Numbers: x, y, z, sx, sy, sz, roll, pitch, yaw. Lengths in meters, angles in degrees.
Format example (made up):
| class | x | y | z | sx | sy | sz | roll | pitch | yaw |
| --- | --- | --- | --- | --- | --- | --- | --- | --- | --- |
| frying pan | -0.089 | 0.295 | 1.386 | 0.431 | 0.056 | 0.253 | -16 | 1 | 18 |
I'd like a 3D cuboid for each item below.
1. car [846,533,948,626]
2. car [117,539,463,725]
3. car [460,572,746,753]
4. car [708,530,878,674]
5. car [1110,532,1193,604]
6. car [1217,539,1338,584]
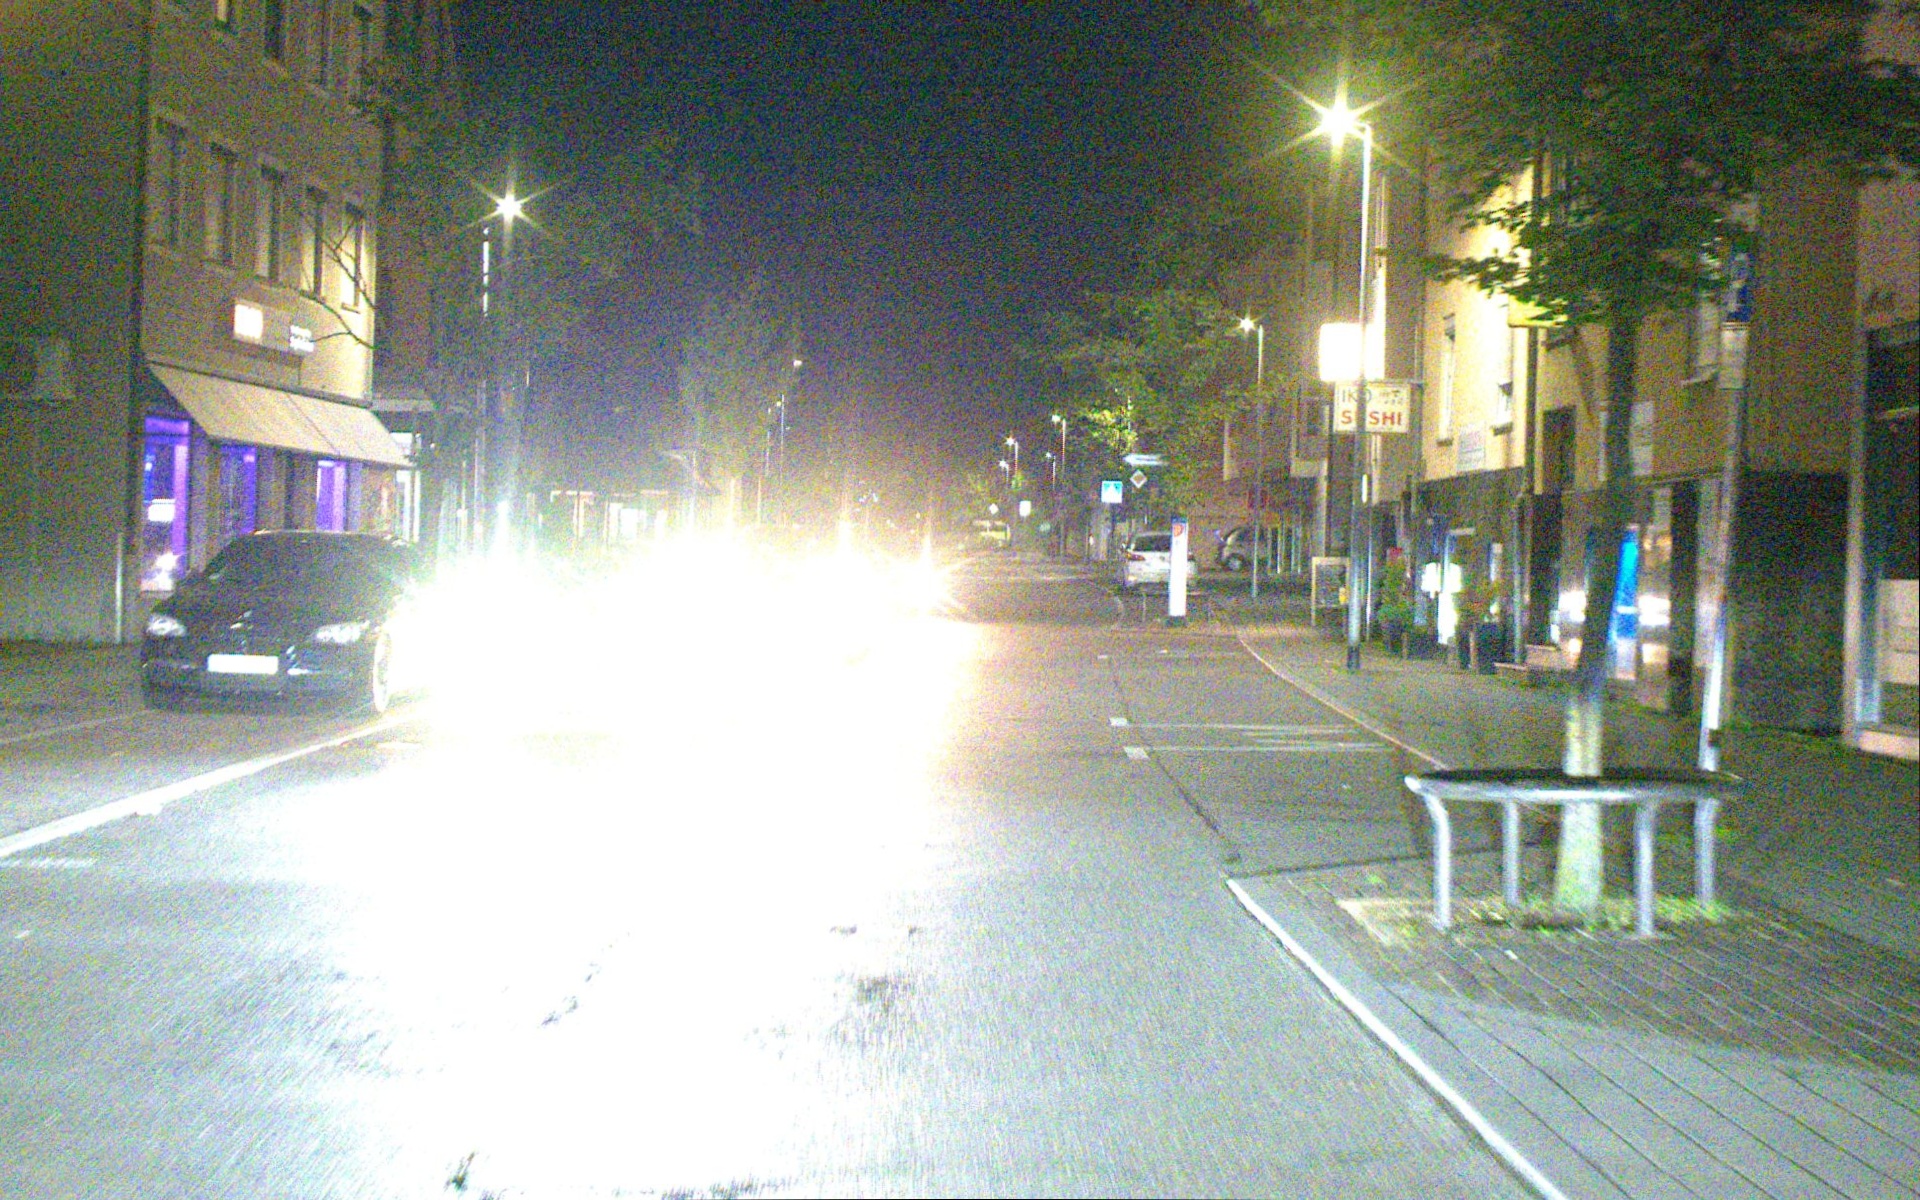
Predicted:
| class | x | y | z | sx | sy | sz | roll | pitch | yaw |
| --- | --- | --- | --- | --- | --- | --- | --- | --- | --- |
| car | -1.145 | -0.413 | 64.689 | 1.775 | 1.647 | 4.364 | 1 | 1 | 1 |
| car | -5.452 | 0.205 | 28.536 | 1.914 | 1.366 | 4.457 | 1 | 1 | 1 |
| car | -2.682 | 0.428 | 26.675 | 1.723 | 1.242 | 4.237 | 1 | 1 | 1 |
| car | -1.991 | -0.018 | 42.144 | 1.775 | 1.647 | 4.364 | 1 | 1 | 1 |
| car | 4.541 | -0.794 | 82.125 | 1.775 | 1.647 | 4.364 | 1 | 1 | 1 |
| car | 10.640 | -1.297 | 115.199 | 3.988 | 1.412 | 1.999 | 1 | -1 | 6 |
